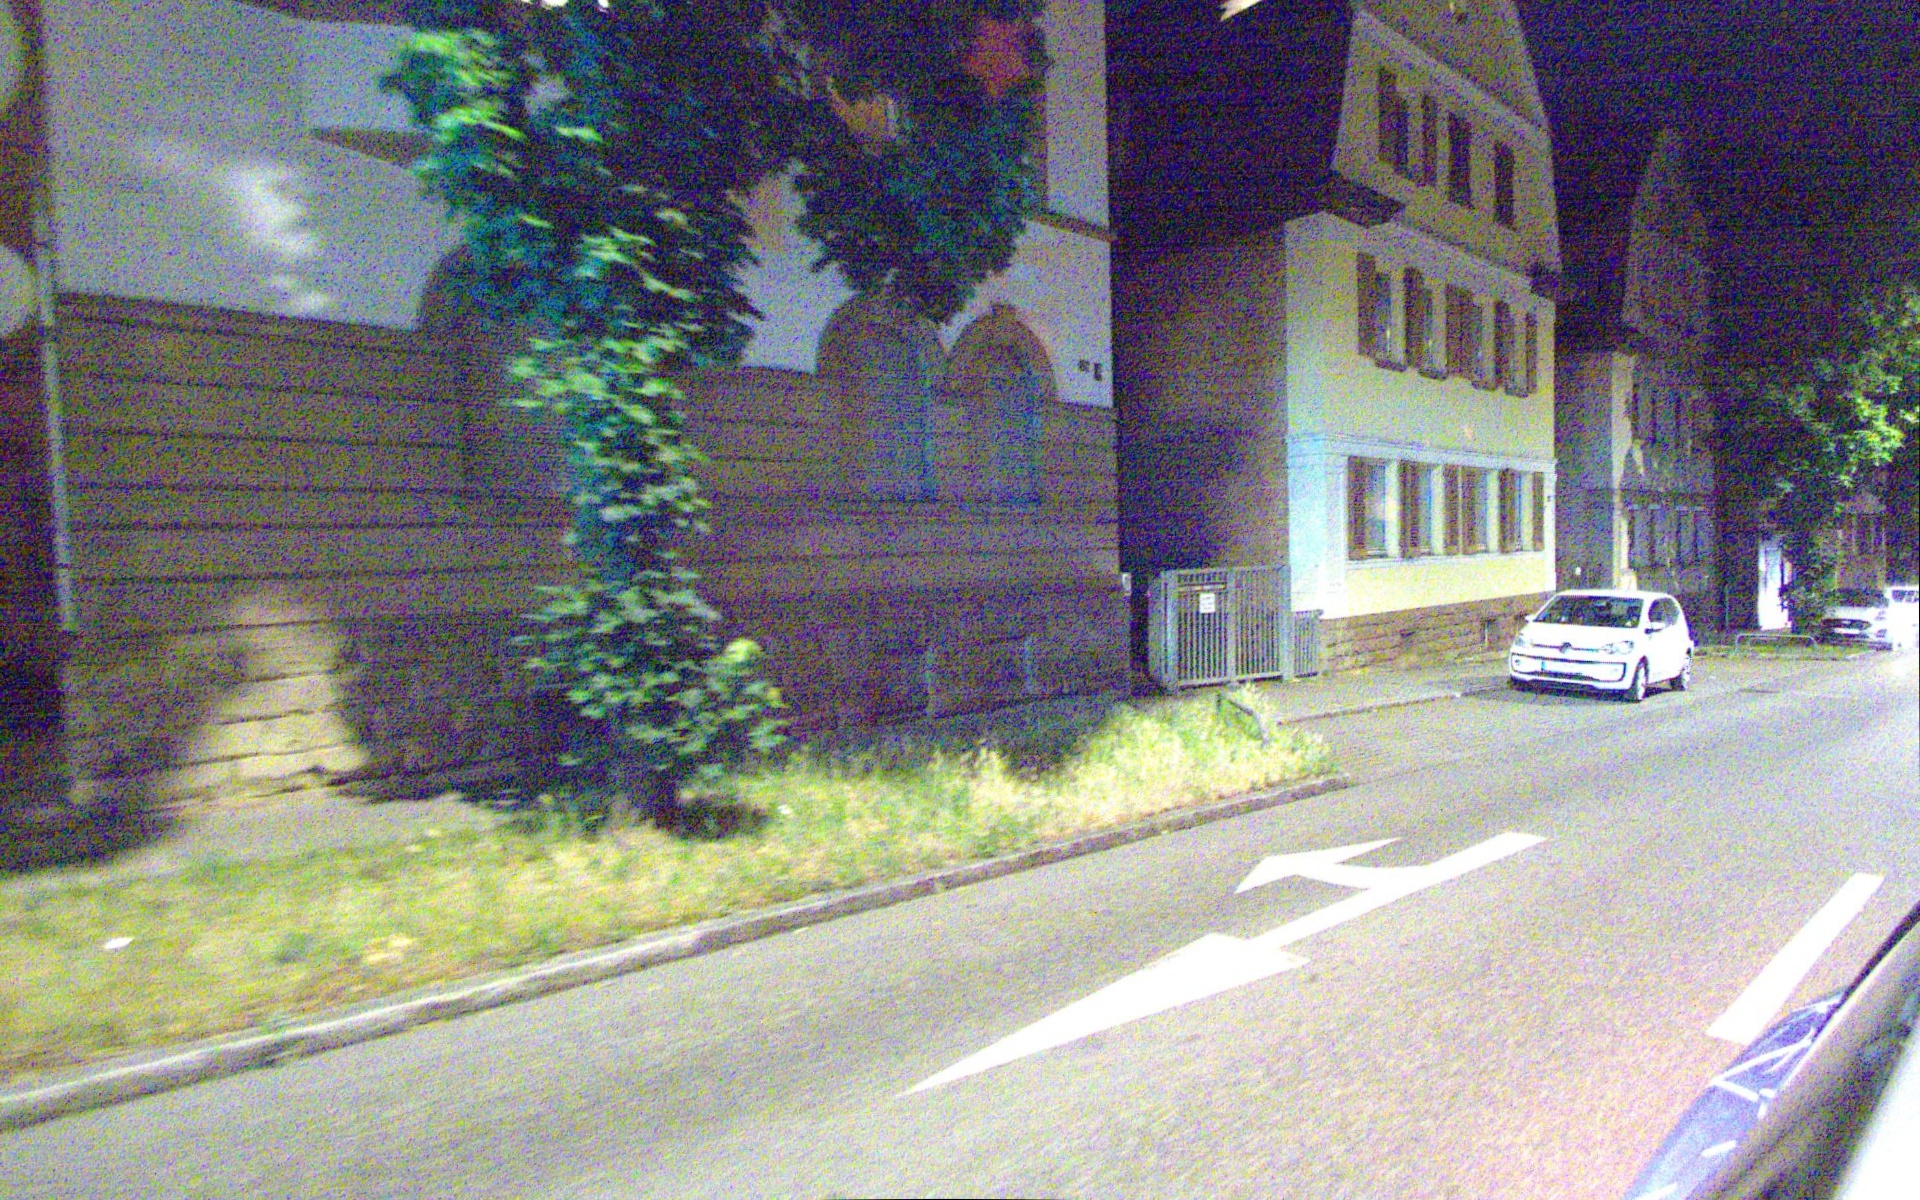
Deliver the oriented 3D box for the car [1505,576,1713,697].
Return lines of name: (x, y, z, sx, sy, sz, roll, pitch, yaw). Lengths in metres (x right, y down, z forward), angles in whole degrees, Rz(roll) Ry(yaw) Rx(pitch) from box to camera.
car: (9.464, 0.440, 14.681, 3.425, 1.527, 1.610, 0, 2, -41)

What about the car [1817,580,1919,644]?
car: (23.827, 0.254, 26.431, 3.824, 1.516, 1.740, -1, 2, -42)

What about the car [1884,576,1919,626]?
car: (33.756, 0.015, 35.281, 4.107, 1.673, 1.850, -1, 0, -42)
